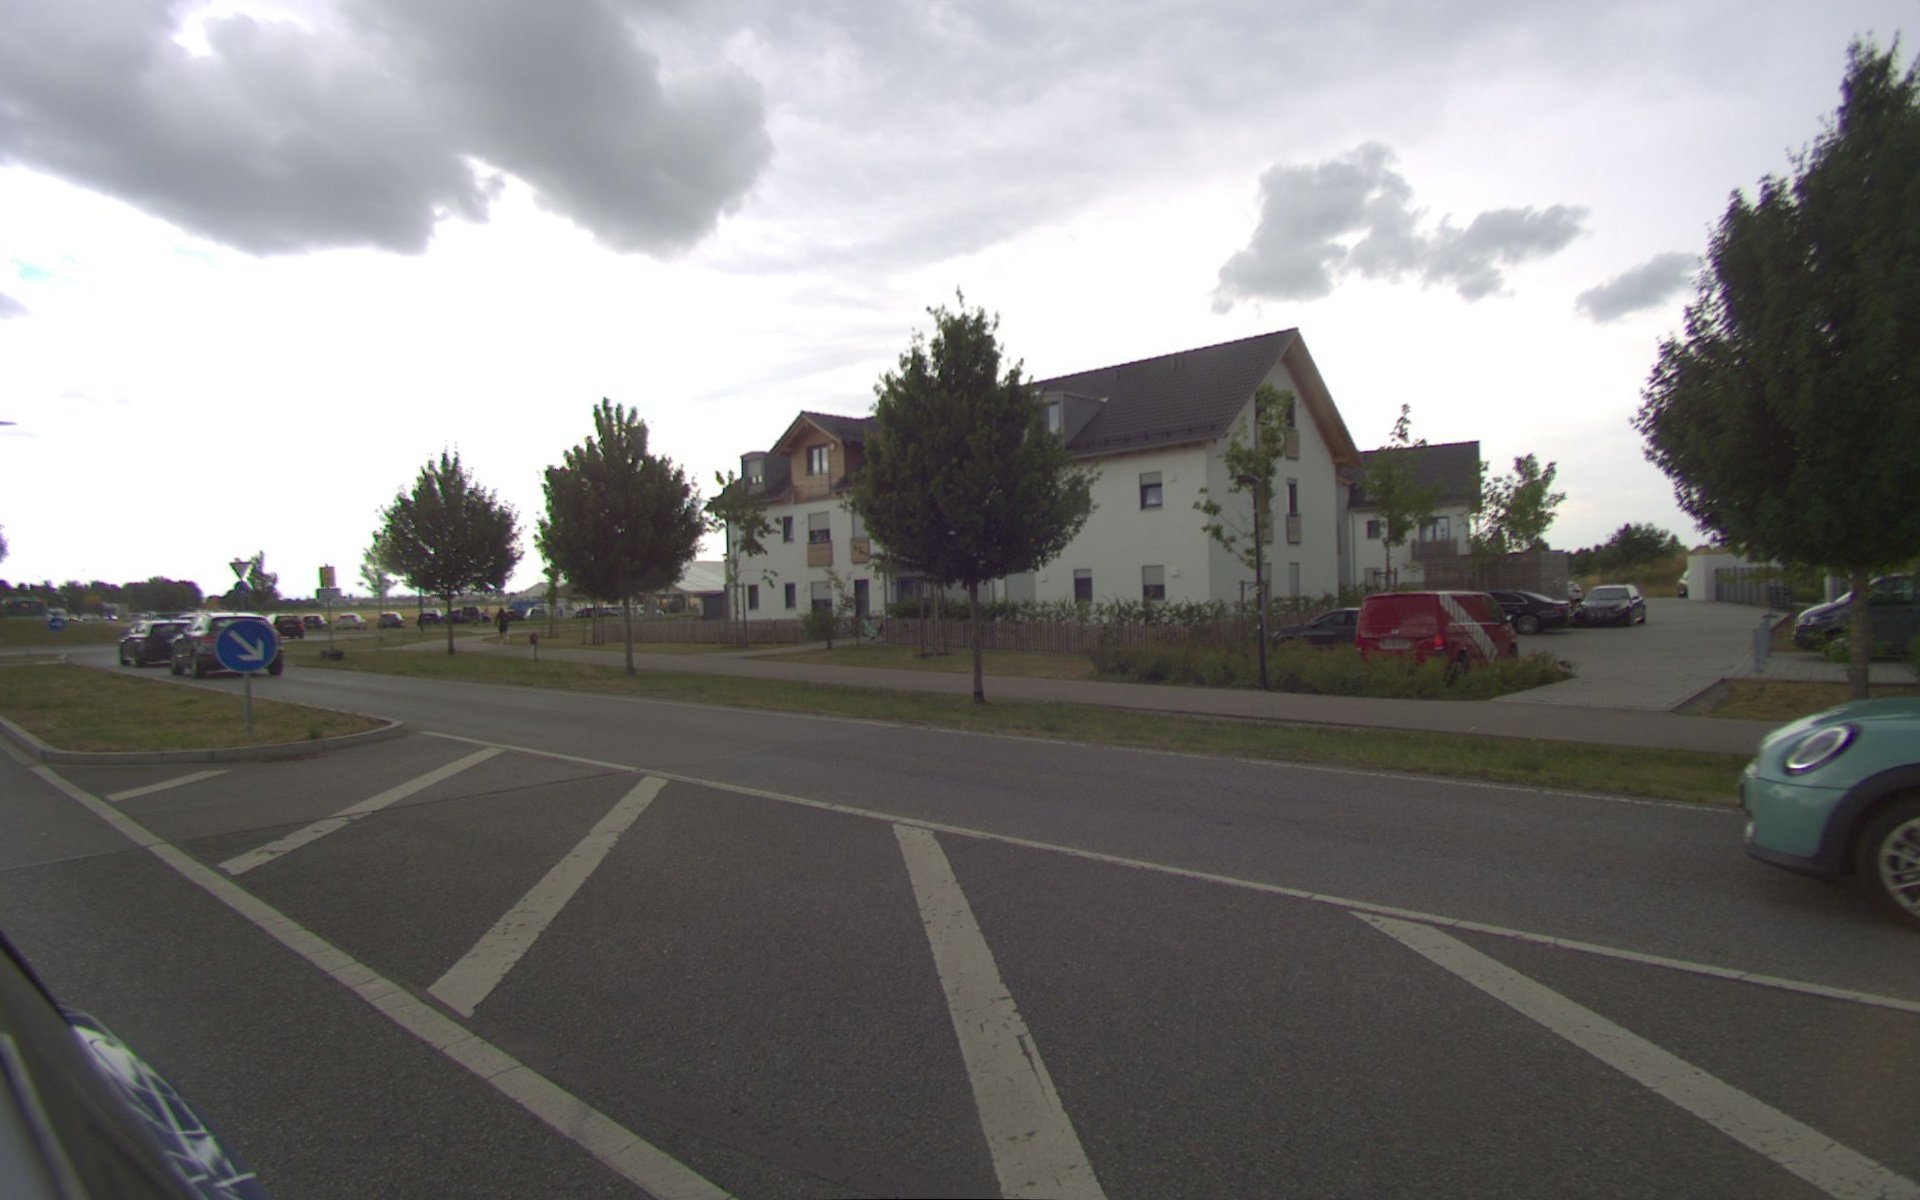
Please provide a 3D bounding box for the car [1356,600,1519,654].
[{"bbox_3d":[14.240,0.800,30.280,3.998,1.519,1.973,-2,-1,41],"label":"car"}]

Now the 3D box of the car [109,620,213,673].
[{"bbox_3d":[-24.935,1.420,31.529,4.348,1.500,1.806,-2,-1,42],"label":"car"}]

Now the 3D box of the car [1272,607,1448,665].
[{"bbox_3d":[10.675,0.953,27.162,3.998,1.431,1.856,-2,-1,41],"label":"car"}]

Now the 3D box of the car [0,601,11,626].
[{"bbox_3d":[-65.868,0.900,67.490,1.967,1.697,4.010,-1,-1,-12],"label":"car"}]

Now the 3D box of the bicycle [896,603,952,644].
[{"bbox_3d":[-1.309,0.832,36.451,2.093,1.439,0.675,-2,-1,41],"label":"bicycle"}]

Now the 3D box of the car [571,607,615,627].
[{"bbox_3d":[-37.486,1.702,103.418,1.991,2.029,3.961,-1,-1,29],"label":"car"}]

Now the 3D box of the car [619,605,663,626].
[{"bbox_3d":[-31.839,1.576,101.094,1.991,2.029,3.961,-1,-1,29],"label":"car"}]

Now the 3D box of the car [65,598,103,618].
[{"bbox_3d":[-68.193,0.628,78.765,3.998,1.454,1.751,-2,-1,41],"label":"car"}]

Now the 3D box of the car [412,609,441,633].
[{"bbox_3d":[-46.848,1.818,88.960,1.965,2.029,4.013,0,-1,-24],"label":"car"}]

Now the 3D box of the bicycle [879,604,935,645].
[{"bbox_3d":[-1.906,0.865,35.912,2.093,1.428,0.675,-2,-1,41],"label":"bicycle"}]

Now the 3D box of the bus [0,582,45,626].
[{"bbox_3d":[-73.170,0.359,78.492,2.949,3.305,6.489,0,-1,-45],"label":"bus"}]

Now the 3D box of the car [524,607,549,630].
[{"bbox_3d":[-39.674,1.739,94.880,1.965,2.029,4.013,-1,-1,-21],"label":"car"}]

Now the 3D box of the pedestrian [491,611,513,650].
[{"bbox_3d":[-18.587,1.244,41.076,0.586,1.541,0.540,-2,1,41],"label":"pedestrian"}]

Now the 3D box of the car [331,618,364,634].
[{"bbox_3d":[-52.437,2.188,86.707,1.965,1.298,4.013,0,-1,-24],"label":"car"}]

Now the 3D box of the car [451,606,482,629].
[{"bbox_3d":[-43.905,1.566,90.034,1.966,2.029,4.011,0,-1,-34],"label":"car"}]

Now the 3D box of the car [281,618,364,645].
[{"bbox_3d":[-37.351,1.812,59.445,1.810,1.500,4.326,-1,-1,8],"label":"car"}]

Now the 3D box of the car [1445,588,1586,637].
[{"bbox_3d":[19.241,0.447,35.148,3.999,1.538,1.552,-2,1,42],"label":"car"}]

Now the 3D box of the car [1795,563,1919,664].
[{"bbox_3d":[21.202,0.242,21.462,5.202,2.028,1.972,-2,3,44],"label":"car"}]

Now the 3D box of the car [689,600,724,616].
[{"bbox_3d":[-33.746,1.068,134.852,1.991,2.029,4.523,-1,-1,29],"label":"car"}]

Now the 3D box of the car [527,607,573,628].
[{"bbox_3d":[-42.197,1.790,104.206,1.994,2.029,3.956,-2,-1,32],"label":"car"}]

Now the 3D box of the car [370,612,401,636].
[{"bbox_3d":[-49.990,2.070,88.092,1.965,2.029,4.013,0,-1,-24],"label":"car"}]

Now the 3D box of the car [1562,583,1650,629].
[{"bbox_3d":[23.731,0.222,37.138,2.000,1.598,3.943,-2,-1,43],"label":"car"}]

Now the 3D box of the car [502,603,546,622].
[{"bbox_3d":[-47.219,1.378,109.647,1.991,2.029,3.961,-1,-1,29],"label":"car"}]

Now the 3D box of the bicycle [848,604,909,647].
[{"bbox_3d":[-2.847,0.889,35.191,2.342,1.423,0.675,-2,-1,41],"label":"bicycle"}]

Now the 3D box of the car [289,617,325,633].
[{"bbox_3d":[-55.259,2.118,85.699,1.965,1.298,4.013,0,-1,-24],"label":"car"}]

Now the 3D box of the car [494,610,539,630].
[{"bbox_3d":[-45.995,2.085,105.059,1.991,2.029,3.961,-1,-1,29],"label":"car"}]

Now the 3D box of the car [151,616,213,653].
[{"bbox_3d":[-33.958,1.498,44.115,1.803,1.500,4.220,0,-1,-42],"label":"car"}]

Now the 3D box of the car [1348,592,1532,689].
[{"bbox_3d":[10.308,0.790,21.536,4.848,1.830,1.908,0,-1,-44],"label":"car"}]

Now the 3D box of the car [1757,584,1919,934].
[{"bbox_3d":[5.678,0.631,3.897,3.998,1.454,1.751,-2,-1,41],"label":"car"}]

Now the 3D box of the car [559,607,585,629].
[{"bbox_3d":[-36.502,1.694,95.225,2.194,2.029,4.013,-1,-1,-21],"label":"car"}]

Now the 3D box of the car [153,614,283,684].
[{"bbox_3d":[-18.711,1.178,25.457,4.214,1.594,1.806,-2,-1,42],"label":"car"}]
